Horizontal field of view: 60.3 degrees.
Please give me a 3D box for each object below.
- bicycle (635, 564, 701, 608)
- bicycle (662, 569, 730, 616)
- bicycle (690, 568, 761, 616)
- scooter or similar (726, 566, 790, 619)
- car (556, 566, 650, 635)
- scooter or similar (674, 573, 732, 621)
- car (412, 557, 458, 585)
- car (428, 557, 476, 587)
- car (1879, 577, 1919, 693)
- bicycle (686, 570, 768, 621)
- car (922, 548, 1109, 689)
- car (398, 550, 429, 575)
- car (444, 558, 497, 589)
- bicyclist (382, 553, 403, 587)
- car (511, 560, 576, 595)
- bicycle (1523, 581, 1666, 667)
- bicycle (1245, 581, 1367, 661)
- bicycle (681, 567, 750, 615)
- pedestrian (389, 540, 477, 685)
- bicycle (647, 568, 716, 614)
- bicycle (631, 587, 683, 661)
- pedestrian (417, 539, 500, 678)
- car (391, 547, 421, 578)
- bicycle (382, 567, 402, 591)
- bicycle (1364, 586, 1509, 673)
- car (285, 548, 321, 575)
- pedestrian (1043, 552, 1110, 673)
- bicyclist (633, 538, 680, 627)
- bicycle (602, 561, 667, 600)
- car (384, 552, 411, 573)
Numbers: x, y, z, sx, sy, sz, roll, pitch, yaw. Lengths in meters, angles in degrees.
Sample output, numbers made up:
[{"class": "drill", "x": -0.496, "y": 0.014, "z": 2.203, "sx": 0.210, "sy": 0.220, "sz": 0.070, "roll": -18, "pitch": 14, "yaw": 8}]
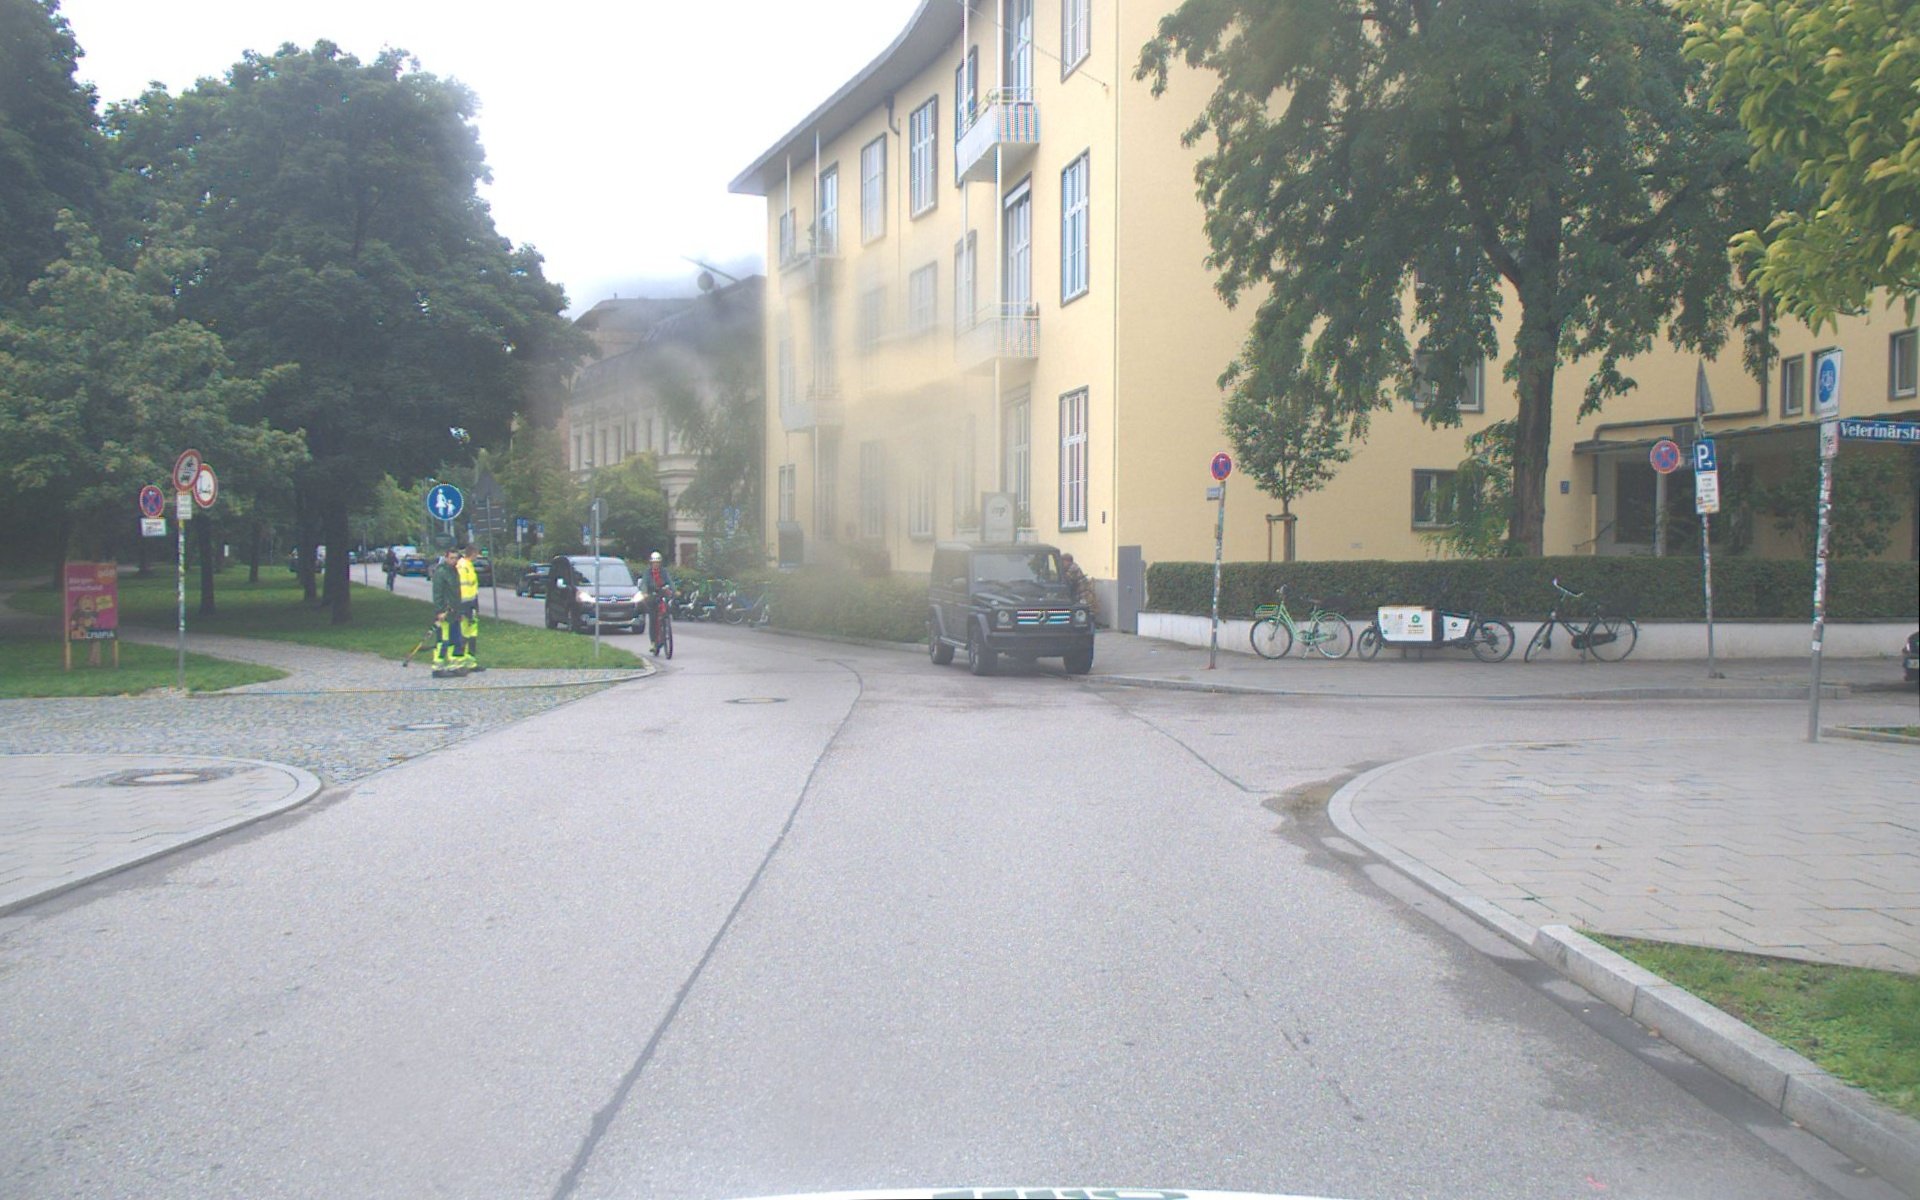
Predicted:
[{"class": "bicycle", "x": -8.963, "y": -0.445, "z": 50.798, "sx": 0.719, "sy": 1.328, "sz": 2.149, "roll": 1, "pitch": 2, "yaw": 34}, {"class": "bicycle", "x": -7.709, "y": -0.238, "z": 48.378, "sx": 0.719, "sy": 1.328, "sz": 2.149, "roll": 1, "pitch": 2, "yaw": 34}, {"class": "bicycle", "x": -6.586, "y": -0.244, "z": 46.586, "sx": 0.719, "sy": 1.328, "sz": 2.149, "roll": 1, "pitch": 2, "yaw": 34}, {"class": "scooter or similar", "x": -5.298, "y": -0.214, "z": 43.584, "sx": 0.717, "sy": 1.328, "sz": 2.156, "roll": 1, "pitch": 1, "yaw": 23}, {"class": "car", "x": -8.440, "y": -0.025, "z": 38.902, "sx": 1.884, "sy": 1.496, "sz": 3.982, "roll": 0, "pitch": 2, "yaw": -17}, {"class": "scooter or similar", "x": -7.411, "y": -0.103, "z": 47.814, "sx": 0.719, "sy": 1.328, "sz": 1.727, "roll": 1, "pitch": 2, "yaw": 31}, {"class": "car", "x": -31.006, "y": -1.722, "z": 97.652, "sx": 1.970, "sy": 1.634, "sz": 3.965, "roll": -1, "pitch": 1, "yaw": -27}, {"class": "car", "x": -28.479, "y": -1.562, "z": 92.657, "sx": 1.970, "sy": 1.634, "sz": 3.965, "roll": -1, "pitch": 1, "yaw": -27}, {"class": "car", "x": 14.227, "y": 0.436, "z": 21.019, "sx": 4.157, "sy": 1.471, "sz": 1.698, "roll": 0, "pitch": 0, "yaw": 1}, {"class": "bicycle", "x": -6.246, "y": -0.123, "z": 44.484, "sx": 2.134, "sy": 1.328, "sz": 0.724, "roll": -1, "pitch": 2, "yaw": -39}, {"class": "car", "x": 0.758, "y": 0.208, "z": 25.969, "sx": 1.733, "sy": 1.906, "sz": 4.364, "roll": 4, "pitch": 1, "yaw": -14}, {"class": "car", "x": -36.878, "y": -2.523, "z": 111.652, "sx": 1.962, "sy": 1.634, "sz": 3.980, "roll": -1, "pitch": 1, "yaw": -18}, {"class": "car", "x": -25.971, "y": -1.403, "z": 87.659, "sx": 1.970, "sy": 1.634, "sz": 3.965, "roll": -1, "pitch": 1, "yaw": -27}, {"class": "bicyclist", "x": -24.827, "y": -1.316, "z": 72.366, "sx": 0.785, "sy": 1.496, "sz": 0.886, "roll": 0, "pitch": 1, "yaw": -25}, {"class": "car", "x": -17.652, "y": -0.960, "z": 69.942, "sx": 1.969, "sy": 1.396, "sz": 3.968, "roll": -1, "pitch": 1, "yaw": -25}, {"class": "bicycle", "x": 9.383, "y": 0.349, "z": 24.500, "sx": 1.881, "sy": 1.222, "sz": 0.596, "roll": 0, "pitch": 1, "yaw": 3}, {"class": "bicycle", "x": 5.480, "y": 0.310, "z": 26.272, "sx": 0.591, "sy": 1.222, "sz": 1.896, "roll": -1, "pitch": 1, "yaw": -45}, {"class": "bicycle", "x": -6.997, "y": -0.276, "z": 47.435, "sx": 0.719, "sy": 1.328, "sz": 2.149, "roll": 1, "pitch": 2, "yaw": 34}, {"class": "pedestrian", "x": -7.575, "y": 0.165, "z": 23.816, "sx": 0.912, "sy": 2.048, "sz": 0.957, "roll": 0, "pitch": 1, "yaw": 3}, {"class": "bicycle", "x": -8.249, "y": -0.285, "z": 49.064, "sx": 0.719, "sy": 1.328, "sz": 2.149, "roll": 1, "pitch": 2, "yaw": 34}, {"class": "bicycle", "x": -5.409, "y": 0.397, "z": 29.463, "sx": 0.731, "sy": 1.236, "sz": 2.136, "roll": -1, "pitch": 1, "yaw": -15}, {"class": "pedestrian", "x": -7.518, "y": 0.113, "z": 24.839, "sx": 0.912, "sy": 2.048, "sz": 0.957, "roll": 0, "pitch": 1, "yaw": 3}, {"class": "car", "x": -40.248, "y": -2.707, "z": 120.156, "sx": 1.962, "sy": 2.197, "sz": 3.980, "roll": 0, "pitch": 1, "yaw": -18}, {"class": "bicycle", "x": -24.864, "y": -0.921, "z": 72.413, "sx": 0.631, "sy": 0.984, "sz": 1.980, "roll": 0, "pitch": 2, "yaw": -25}, {"class": "bicycle", "x": 7.154, "y": 0.427, "z": 24.840, "sx": 2.025, "sy": 1.222, "sz": 0.595, "roll": 1, "pitch": 1, "yaw": 22}, {"class": "car", "x": -43.224, "y": -2.511, "z": 108.794, "sx": 1.969, "sy": 1.720, "sz": 3.968, "roll": -1, "pitch": 1, "yaw": -25}, {"class": "pedestrian", "x": 1.824, "y": 0.183, "z": 26.030, "sx": 0.859, "sy": 1.855, "sz": 0.796, "roll": 0, "pitch": 1, "yaw": -13}, {"class": "bicyclist", "x": -5.420, "y": -0.315, "z": 29.466, "sx": 0.731, "sy": 1.547, "sz": 0.942, "roll": -1, "pitch": 1, "yaw": -15}, {"class": "bicycle", "x": -11.157, "y": -0.663, "z": 56.654, "sx": 2.116, "sy": 1.328, "sz": 0.731, "roll": 0, "pitch": 1, "yaw": -18}, {"class": "car", "x": -44.452, "y": -2.933, "z": 130.787, "sx": 1.962, "sy": 1.634, "sz": 3.980, "roll": -1, "pitch": 1, "yaw": -18}]
